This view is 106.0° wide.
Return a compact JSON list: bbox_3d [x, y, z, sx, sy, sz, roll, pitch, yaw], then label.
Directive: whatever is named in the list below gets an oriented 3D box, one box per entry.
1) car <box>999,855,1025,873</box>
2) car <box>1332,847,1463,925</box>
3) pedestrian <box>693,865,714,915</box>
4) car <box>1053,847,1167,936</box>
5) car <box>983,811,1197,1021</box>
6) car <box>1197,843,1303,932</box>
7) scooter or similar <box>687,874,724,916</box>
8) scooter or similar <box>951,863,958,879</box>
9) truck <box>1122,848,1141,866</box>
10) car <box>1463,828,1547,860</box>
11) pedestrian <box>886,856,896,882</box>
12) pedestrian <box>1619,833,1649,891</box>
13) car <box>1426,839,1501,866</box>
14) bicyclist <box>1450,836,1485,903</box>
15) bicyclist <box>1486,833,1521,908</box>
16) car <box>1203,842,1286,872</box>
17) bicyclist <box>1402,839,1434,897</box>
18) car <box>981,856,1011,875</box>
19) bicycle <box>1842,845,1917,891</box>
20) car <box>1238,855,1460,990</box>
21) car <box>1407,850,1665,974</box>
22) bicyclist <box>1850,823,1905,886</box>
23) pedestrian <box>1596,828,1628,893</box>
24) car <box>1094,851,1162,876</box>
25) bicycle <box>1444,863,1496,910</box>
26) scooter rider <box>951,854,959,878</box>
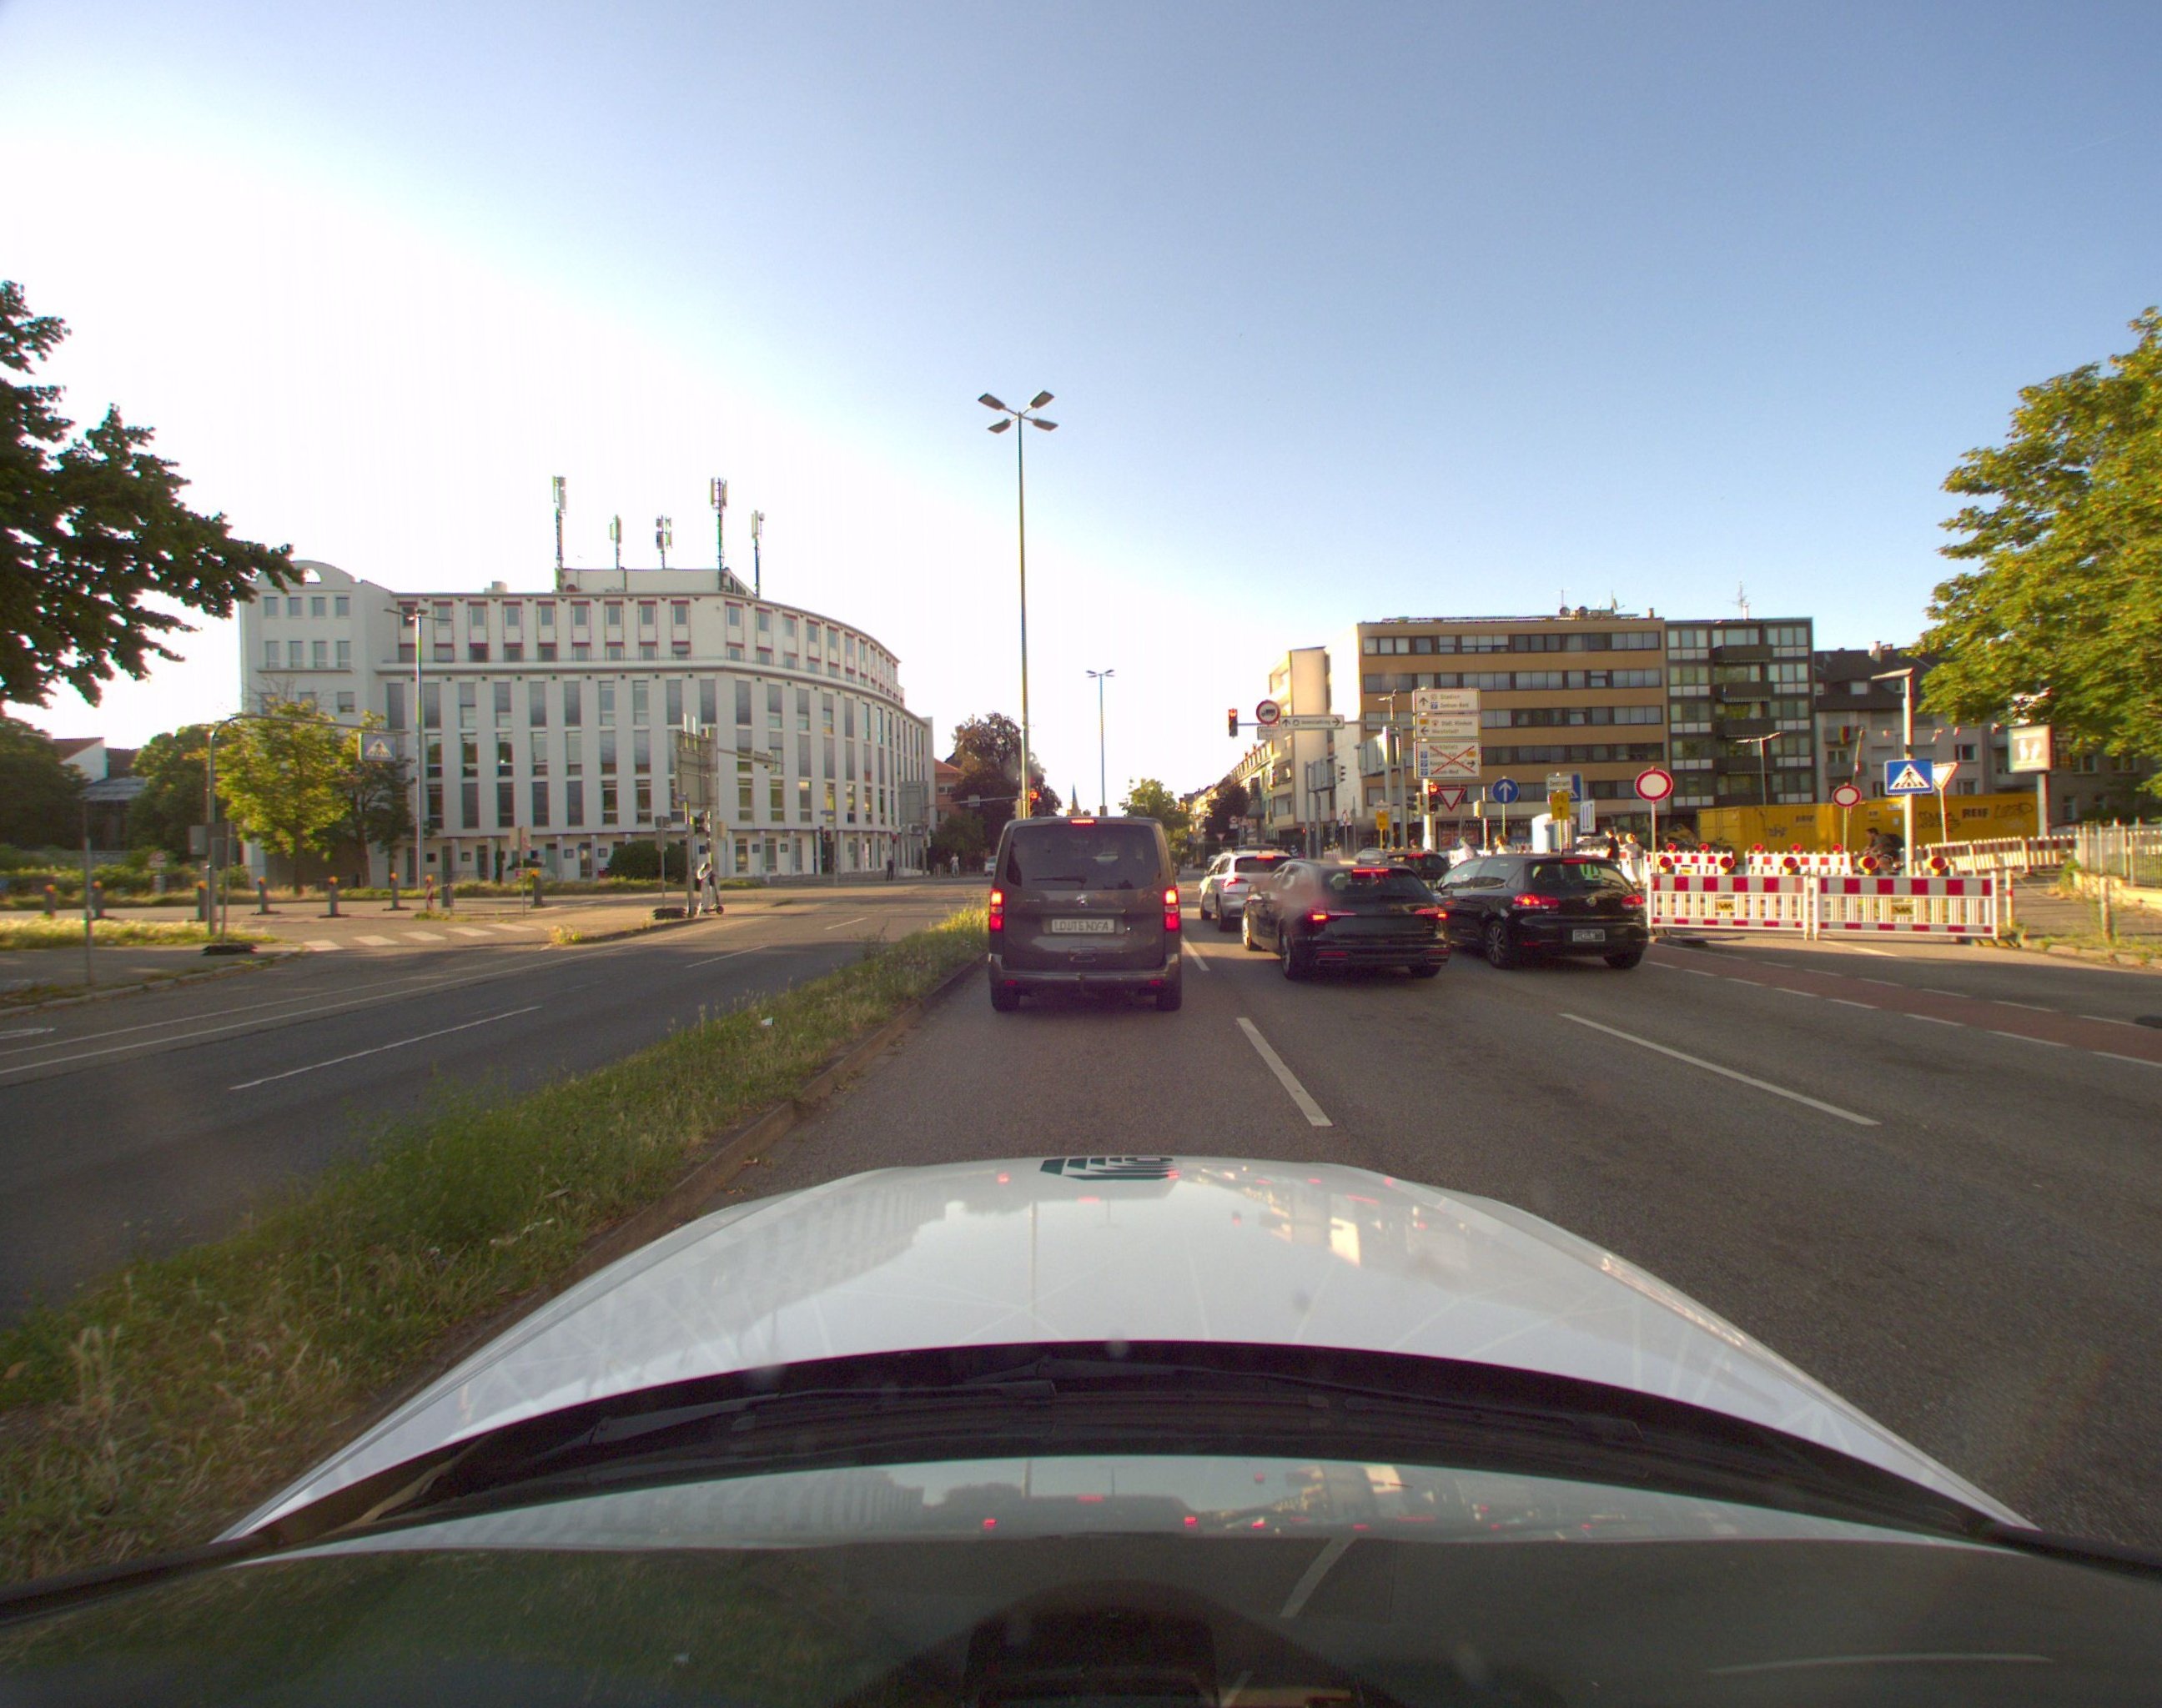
[{"bbox_3d":[-5.905,0.826,70.356,1.850,1.420,4.000,-2,0,0],"label":"car"},{"bbox_3d":[6.502,0.601,17.069,1.499,1.449,3.306,-2,0,2],"label":"car"},{"bbox_3d":[-11.551,1.102,24.952,0.474,1.505,0.334,-2,0,-10],"label":"pedestrian"},{"bbox_3d":[0.585,0.669,16.554,1.986,1.530,4.002,-2,0,2],"label":"car"},{"bbox_3d":[0.152,0.547,9.503,1.899,1.863,4.528,0,0,2],"label":"car"},{"bbox_3d":[3.348,0.608,16.744,1.523,1.613,3.747,0,0,2],"label":"car"},{"bbox_3d":[-11.364,1.235,24.663,0.893,1.234,0.370,-2,0,-10],"label":"scooter or similar"},{"bbox_3d":[-9.359,1.246,60.416,0.284,1.188,1.170,-2,0,2],"label":"scooter or similar"},{"bbox_3d":[5.931,0.325,96.212,2.119,2.086,4.634,-2,0,3],"label":"truck"},{"bbox_3d":[26.296,-0.626,50.626,4.206,1.817,1.998,-2,0,-4],"label":"car"},{"bbox_3d":[-12.459,0.972,53.414,0.626,1.722,0.669,-2,0,-12],"label":"pedestrian"},{"bbox_3d":[16.052,0.225,23.632,0.605,1.671,0.450,-2,0,-27],"label":"pedestrian"},{"bbox_3d":[22.608,-0.098,48.216,3.667,1.387,1.694,-3,0,-4],"label":"car"},{"bbox_3d":[8.997,0.349,18.992,0.439,1.525,0.726,-2,0,2],"label":"bicyclist"},{"bbox_3d":[8.726,0.333,16.839,0.439,1.525,0.482,-2,0,1],"label":"bicyclist"},{"bbox_3d":[9.402,0.168,46.995,4.329,1.549,1.786,-2,0,-3],"label":"car"},{"bbox_3d":[9.068,0.371,21.928,0.511,1.525,0.726,-2,0,2],"label":"bicyclist"},{"bbox_3d":[-6.702,0.889,64.573,1.850,1.420,4.000,-2,0,0],"label":"car"},{"bbox_3d":[20.408,0.353,20.834,1.488,1.161,0.374,0,1,4],"label":"bicycle"},{"bbox_3d":[3.265,0.730,10.803,1.675,1.421,4.215,0,0,2],"label":"car"},{"bbox_3d":[6.099,0.676,11.447,1.627,1.449,3.747,0,0,2],"label":"car"},{"bbox_3d":[20.389,0.010,20.865,0.808,1.589,0.621,0,1,5],"label":"bicyclist"},{"bbox_3d":[15.337,0.177,23.539,0.572,1.834,0.484,-2,0,-21],"label":"pedestrian"},{"bbox_3d":[2.869,0.572,50.032,3.980,1.420,1.785,-2,0,-5],"label":"car"},{"bbox_3d":[8.999,0.734,18.909,0.335,1.008,1.857,-2,0,2],"label":"bicycle"},{"bbox_3d":[-9.359,0.885,60.559,0.479,1.697,0.636,-2,0,2],"label":"scooter rider"}]
